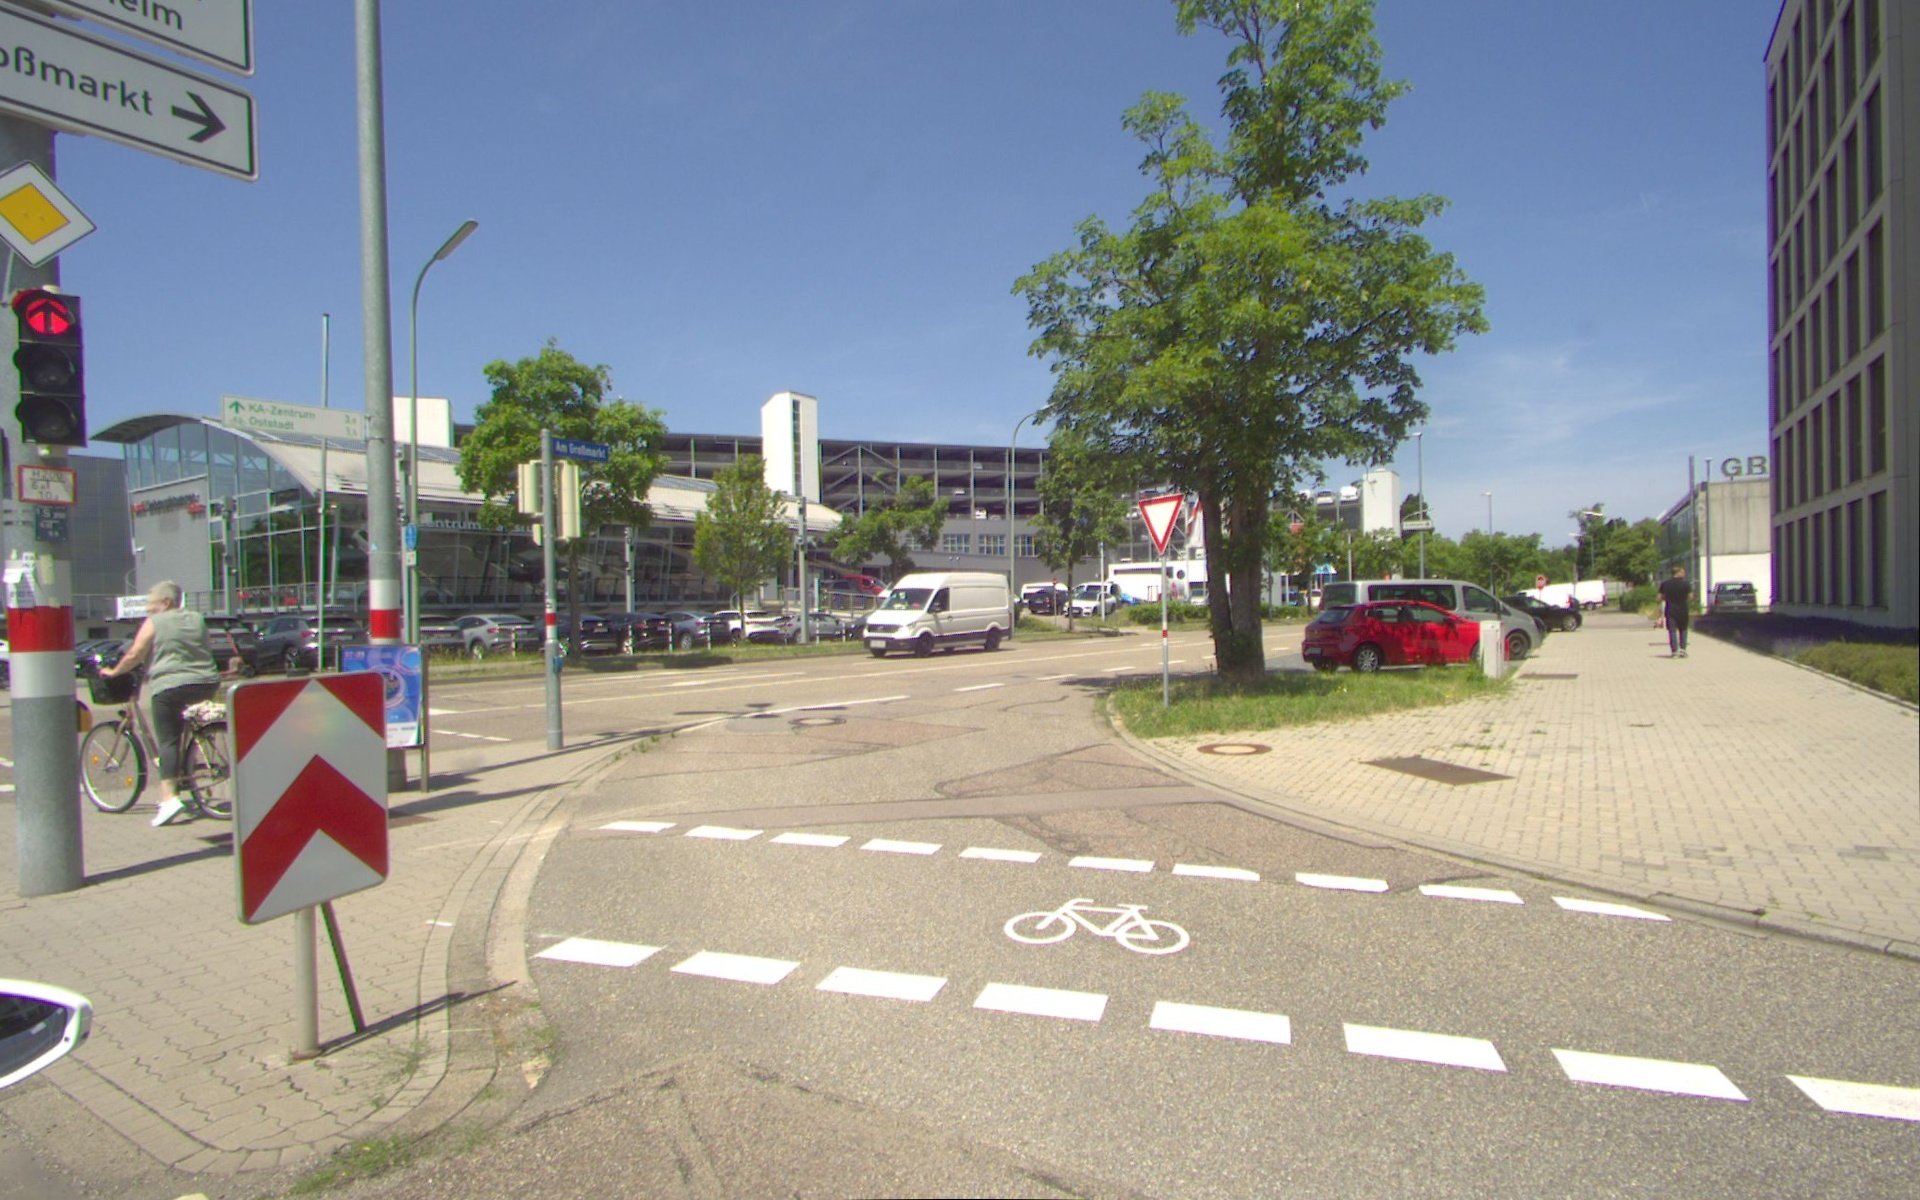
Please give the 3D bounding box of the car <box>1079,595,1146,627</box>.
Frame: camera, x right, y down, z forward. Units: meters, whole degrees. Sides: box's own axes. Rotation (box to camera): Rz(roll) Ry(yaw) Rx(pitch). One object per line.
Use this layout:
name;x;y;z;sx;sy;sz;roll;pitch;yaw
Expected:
car;10.164;0.731;66.707;3.943;2.040;1.989;-1;0;32

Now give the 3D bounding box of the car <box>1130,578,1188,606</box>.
car;15.531;-0.585;78.256;3.945;2.040;1.988;-1;0;34

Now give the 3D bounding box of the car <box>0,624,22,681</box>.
car;-27.283;1.435;25.433;1.973;1.476;4.729;-2;-1;34

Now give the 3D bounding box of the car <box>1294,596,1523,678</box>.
car;8.956;0.703;20.116;3.924;1.454;1.609;-2;0;-8

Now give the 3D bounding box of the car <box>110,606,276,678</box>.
car;-19.432;1.011;25.336;4.207;1.661;1.989;-1;0;32

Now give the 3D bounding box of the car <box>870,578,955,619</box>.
car;-2.485;-0.073;53.914;1.972;2.040;5.117;-1;0;32

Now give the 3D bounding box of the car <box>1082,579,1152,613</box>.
car;9.904;-0.238;63.277;3.943;2.040;1.840;-1;0;32

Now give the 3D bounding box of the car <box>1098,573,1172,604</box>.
car;12.002;-0.767;68.861;4.578;2.040;1.989;-1;0;32

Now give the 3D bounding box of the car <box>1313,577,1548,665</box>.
car;10.891;0.464;23.278;4.814;1.839;1.704;-2;0;-10

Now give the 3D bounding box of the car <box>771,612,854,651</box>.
car;-7.247;1.517;49.386;3.659;1.801;1.739;-1;0;-31

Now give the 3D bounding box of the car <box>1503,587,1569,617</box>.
car;41.677;0.142;72.522;3.949;2.040;1.986;-1;0;37

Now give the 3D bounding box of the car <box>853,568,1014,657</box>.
car;-0.693;0.365;31.785;2.074;2.567;5.764;0;0;35

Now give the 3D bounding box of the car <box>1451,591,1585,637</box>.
car;21.536;0.561;38.761;4.075;1.558;1.815;-3;-1;2

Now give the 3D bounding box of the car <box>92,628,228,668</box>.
car;-32.939;1.927;41.329;1.694;1.480;4.083;0;0;33

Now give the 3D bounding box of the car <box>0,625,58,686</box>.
car;-25.169;1.402;24.158;1.973;1.476;4.729;0;0;34

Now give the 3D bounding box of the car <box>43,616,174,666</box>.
car;-37.293;1.753;43.959;1.972;2.040;3.977;-1;0;33

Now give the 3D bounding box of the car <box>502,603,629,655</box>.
car;-13.618;0.974;34.474;4.410;1.662;1.823;-1;1;32

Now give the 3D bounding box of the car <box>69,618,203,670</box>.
car;-34.914;1.816;42.526;1.972;2.040;3.977;-1;0;33

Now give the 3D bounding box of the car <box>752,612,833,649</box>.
car;-8.598;1.546;51.372;3.712;1.795;1.761;-1;0;-28

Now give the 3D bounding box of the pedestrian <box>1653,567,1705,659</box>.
pedestrian;14.964;0.274;20.834;0.764;1.869;0.861;-2;0;40

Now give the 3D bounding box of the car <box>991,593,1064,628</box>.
car;4.075;0.644;60.745;3.943;2.040;1.989;-1;0;32

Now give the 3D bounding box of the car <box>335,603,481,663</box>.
car;-16.605;0.961;30.086;4.377;1.661;1.989;-1;1;32

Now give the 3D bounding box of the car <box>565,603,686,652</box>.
car;-12.299;0.976;36.726;4.410;1.661;1.823;-1;0;32

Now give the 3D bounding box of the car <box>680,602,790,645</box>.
car;-9.278;0.947;41.199;4.410;1.662;1.823;-1;1;32

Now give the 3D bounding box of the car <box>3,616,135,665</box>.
car;-39.701;1.761;44.702;1.972;2.040;3.977;-1;0;33

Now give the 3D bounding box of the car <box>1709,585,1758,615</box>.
car;42.169;-0.036;54.652;1.765;1.542;3.556;-2;0;33

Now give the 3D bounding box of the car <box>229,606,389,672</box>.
car;-17.934;1.022;27.554;4.492;1.661;1.989;-1;0;32

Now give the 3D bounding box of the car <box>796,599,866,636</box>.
car;-7.472;1.013;58.009;1.839;2.040;3.733;-1;0;41

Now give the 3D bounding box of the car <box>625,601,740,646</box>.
car;-10.859;0.881;39.051;4.410;1.662;1.823;-1;1;32

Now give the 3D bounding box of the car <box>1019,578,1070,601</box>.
car;7.732;-0.929;92.118;4.257;2.040;1.989;-1;0;32

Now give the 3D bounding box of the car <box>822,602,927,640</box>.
car;-4.011;0.947;47.592;4.702;1.662;1.821;-1;1;-35

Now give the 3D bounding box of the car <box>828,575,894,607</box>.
car;-6.654;-0.588;67.376;3.937;2.040;1.992;-1;0;27

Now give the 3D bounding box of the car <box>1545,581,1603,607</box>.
car;55.245;-0.528;90.162;4.304;2.149;2.080;-1;0;36

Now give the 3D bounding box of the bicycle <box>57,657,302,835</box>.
bicycle;-5.906;1.032;7.560;1.891;1.142;0.786;0;0;29

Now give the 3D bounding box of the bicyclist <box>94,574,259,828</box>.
bicyclist;-5.853;0.717;7.499;0.742;1.772;0.733;0;0;28

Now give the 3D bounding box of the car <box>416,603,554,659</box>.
car;-15.231;0.959;32.067;4.460;1.661;1.881;-1;1;32
